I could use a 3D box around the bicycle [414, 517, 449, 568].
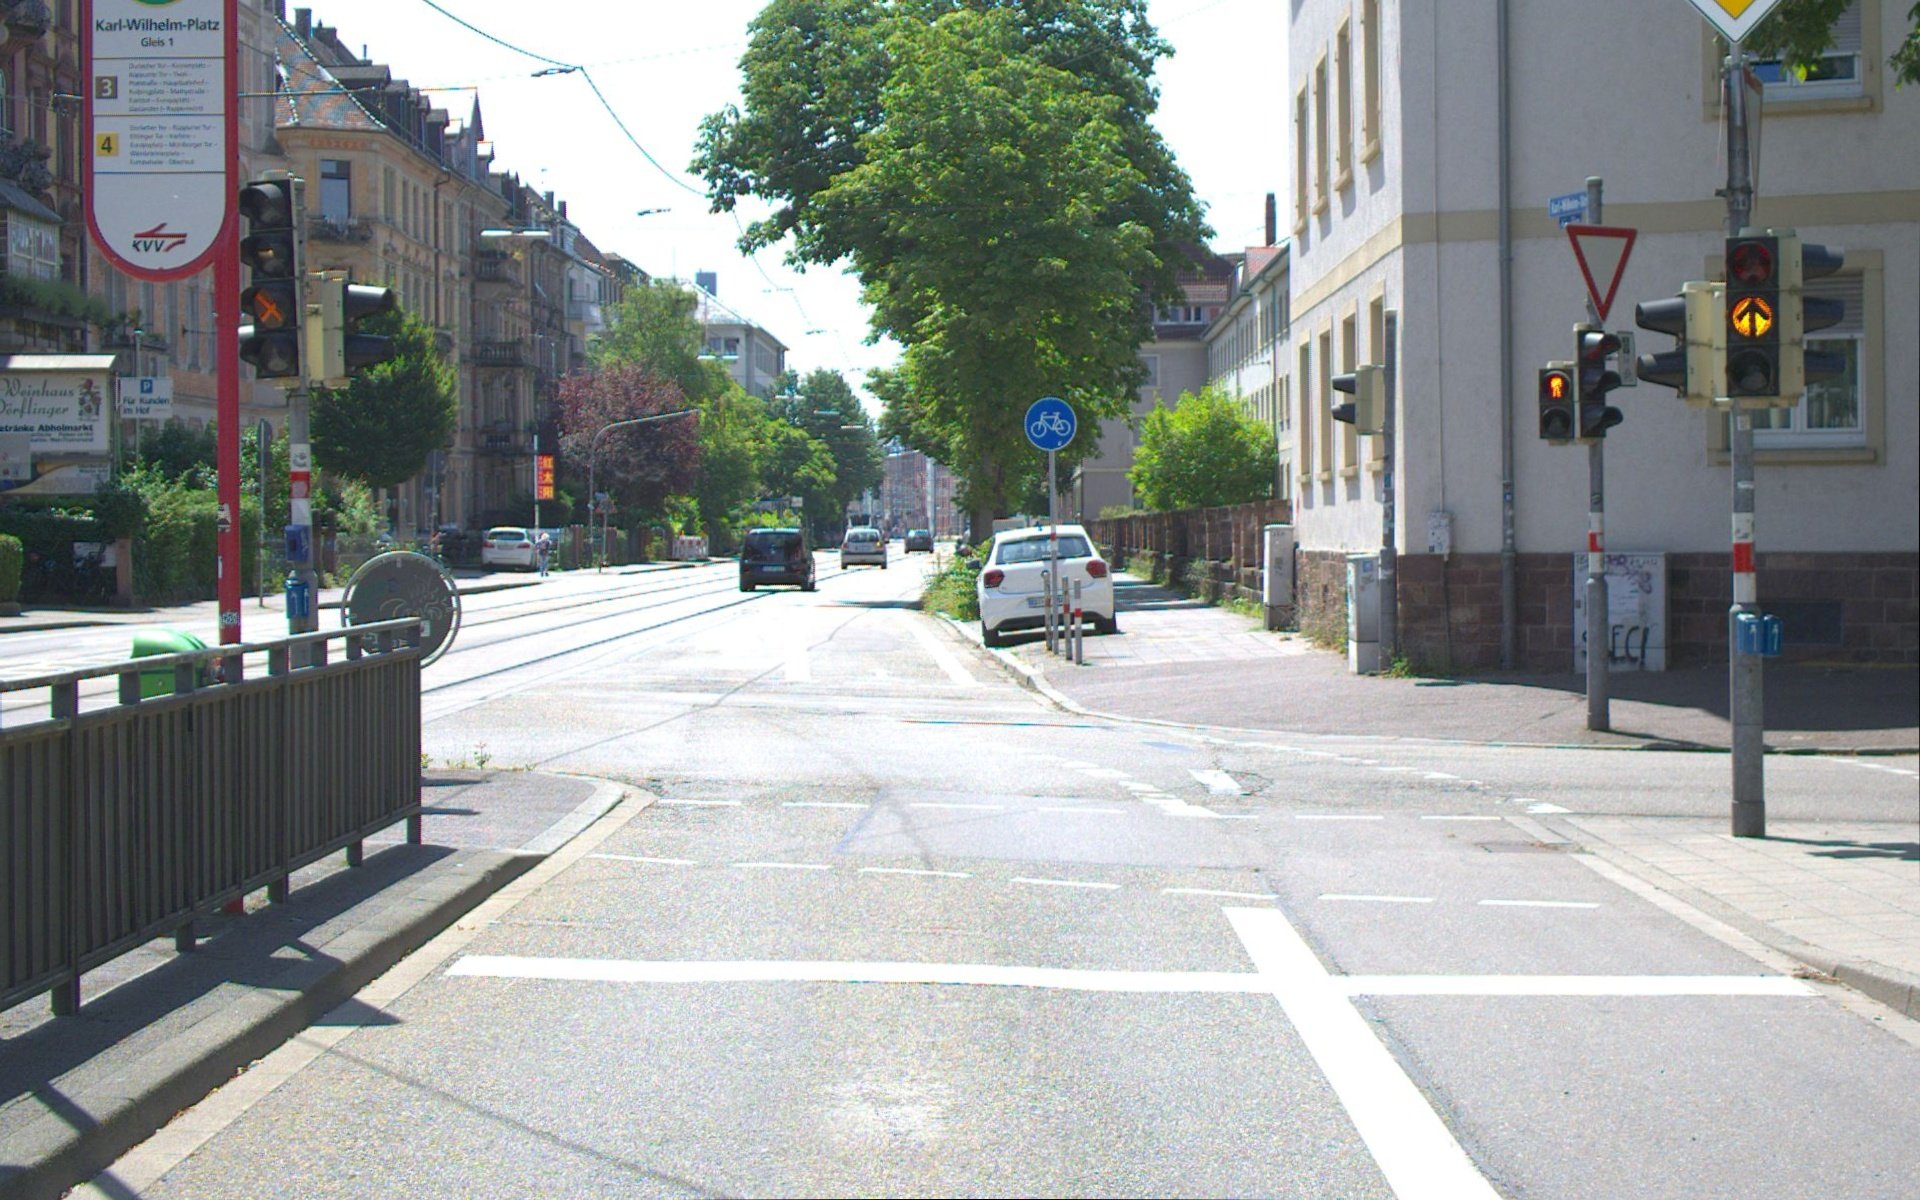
[{"bbox_3d":[-14.743,-1.600,95.933,0.577,1.383,2.501,0,1,0],"label":"bicycle"}]

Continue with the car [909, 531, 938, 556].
[{"bbox_3d":[-2.278,-3.496,213.032,1.628,1.467,3.564,-3,1,-2],"label":"car"}]

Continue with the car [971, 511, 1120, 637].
[{"bbox_3d":[1.071,-0.351,44.815,1.747,1.467,3.938,-3,1,0],"label":"car"}]

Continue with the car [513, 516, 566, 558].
[{"bbox_3d":[-16.093,-2.410,131.807,1.628,1.467,3.564,-3,1,-2],"label":"car"}]

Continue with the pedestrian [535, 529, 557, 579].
[{"bbox_3d":[-14.164,-1.568,117.706,0.678,1.721,0.677,0,1,0],"label":"pedestrian"}]

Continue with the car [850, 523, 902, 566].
[{"bbox_3d":[-3.077,-2.048,126.677,1.747,1.467,3.938,-3,1,0],"label":"car"}]

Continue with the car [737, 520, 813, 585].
[{"bbox_3d":[-4.323,-1.121,80.630,1.525,1.439,3.365,-2,1,1],"label":"car"}]

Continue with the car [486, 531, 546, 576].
[{"bbox_3d":[-15.936,-1.672,123.442,1.684,1.467,3.939,-3,1,-2],"label":"car"}]
